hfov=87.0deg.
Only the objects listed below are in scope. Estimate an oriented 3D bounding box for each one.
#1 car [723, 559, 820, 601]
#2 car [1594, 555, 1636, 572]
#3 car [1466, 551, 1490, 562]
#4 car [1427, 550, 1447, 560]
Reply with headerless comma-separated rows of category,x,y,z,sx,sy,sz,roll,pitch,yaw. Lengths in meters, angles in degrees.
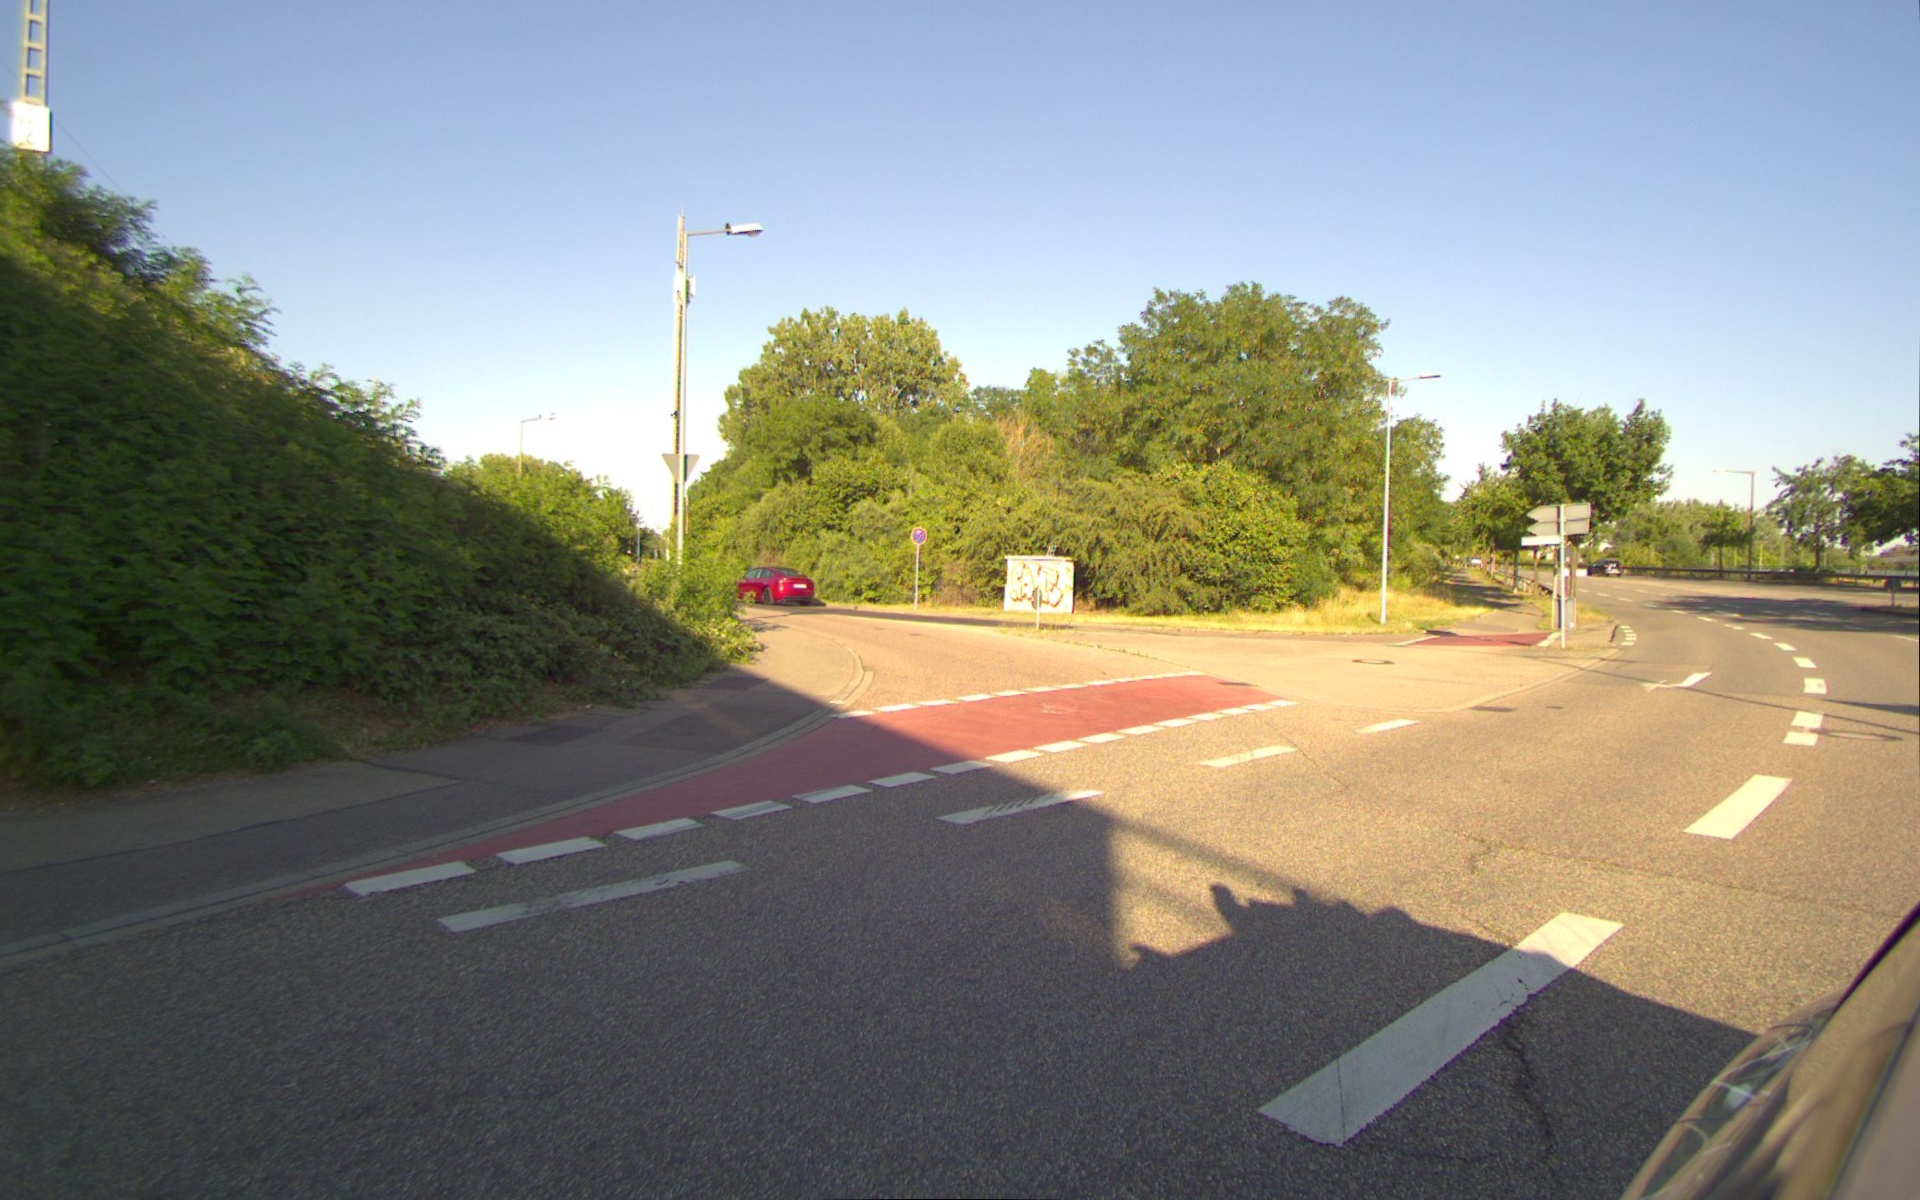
car,-7.249,-0.737,38.599,1.750,1.460,4.355,2,-1,-39
car,61.084,-3.424,94.461,1.823,1.623,4.380,1,2,12
car,68.981,-5.769,134.774,1.650,1.480,4.097,0,2,9
car,71.983,-6.752,152.839,1.717,1.481,3.758,-1,1,8
